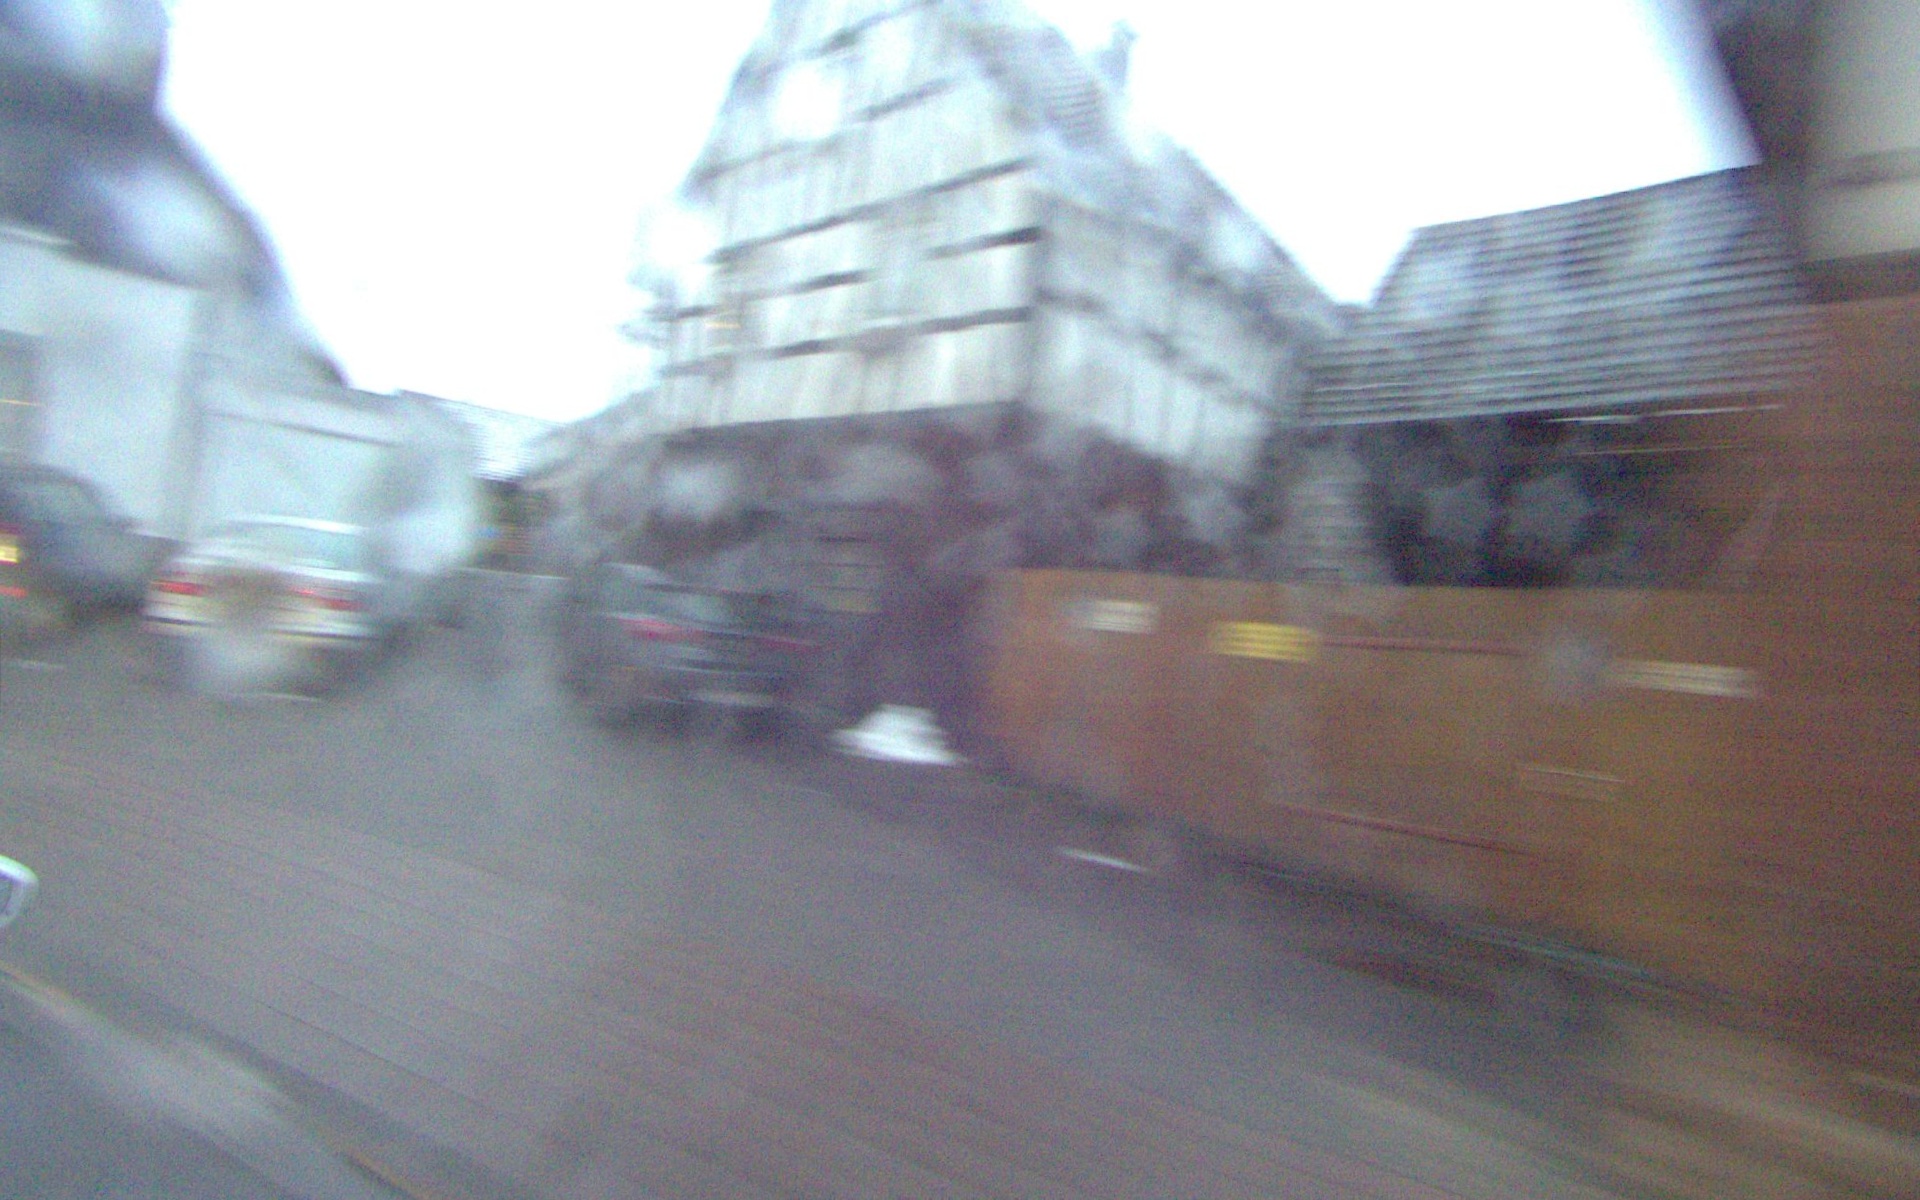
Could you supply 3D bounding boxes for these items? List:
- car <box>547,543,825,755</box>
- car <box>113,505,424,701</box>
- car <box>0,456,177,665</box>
[{"bbox_3d":[-2.970,0.370,10.244,1.581,1.535,3.949,6,2,-32],"label":"car"},{"bbox_3d":[-6.595,-0.094,10.087,1.792,1.439,4.011,6,2,-25],"label":"car"},{"bbox_3d":[-9.559,-0.570,9.966,1.833,1.682,4.444,6,2,-26],"label":"car"}]
